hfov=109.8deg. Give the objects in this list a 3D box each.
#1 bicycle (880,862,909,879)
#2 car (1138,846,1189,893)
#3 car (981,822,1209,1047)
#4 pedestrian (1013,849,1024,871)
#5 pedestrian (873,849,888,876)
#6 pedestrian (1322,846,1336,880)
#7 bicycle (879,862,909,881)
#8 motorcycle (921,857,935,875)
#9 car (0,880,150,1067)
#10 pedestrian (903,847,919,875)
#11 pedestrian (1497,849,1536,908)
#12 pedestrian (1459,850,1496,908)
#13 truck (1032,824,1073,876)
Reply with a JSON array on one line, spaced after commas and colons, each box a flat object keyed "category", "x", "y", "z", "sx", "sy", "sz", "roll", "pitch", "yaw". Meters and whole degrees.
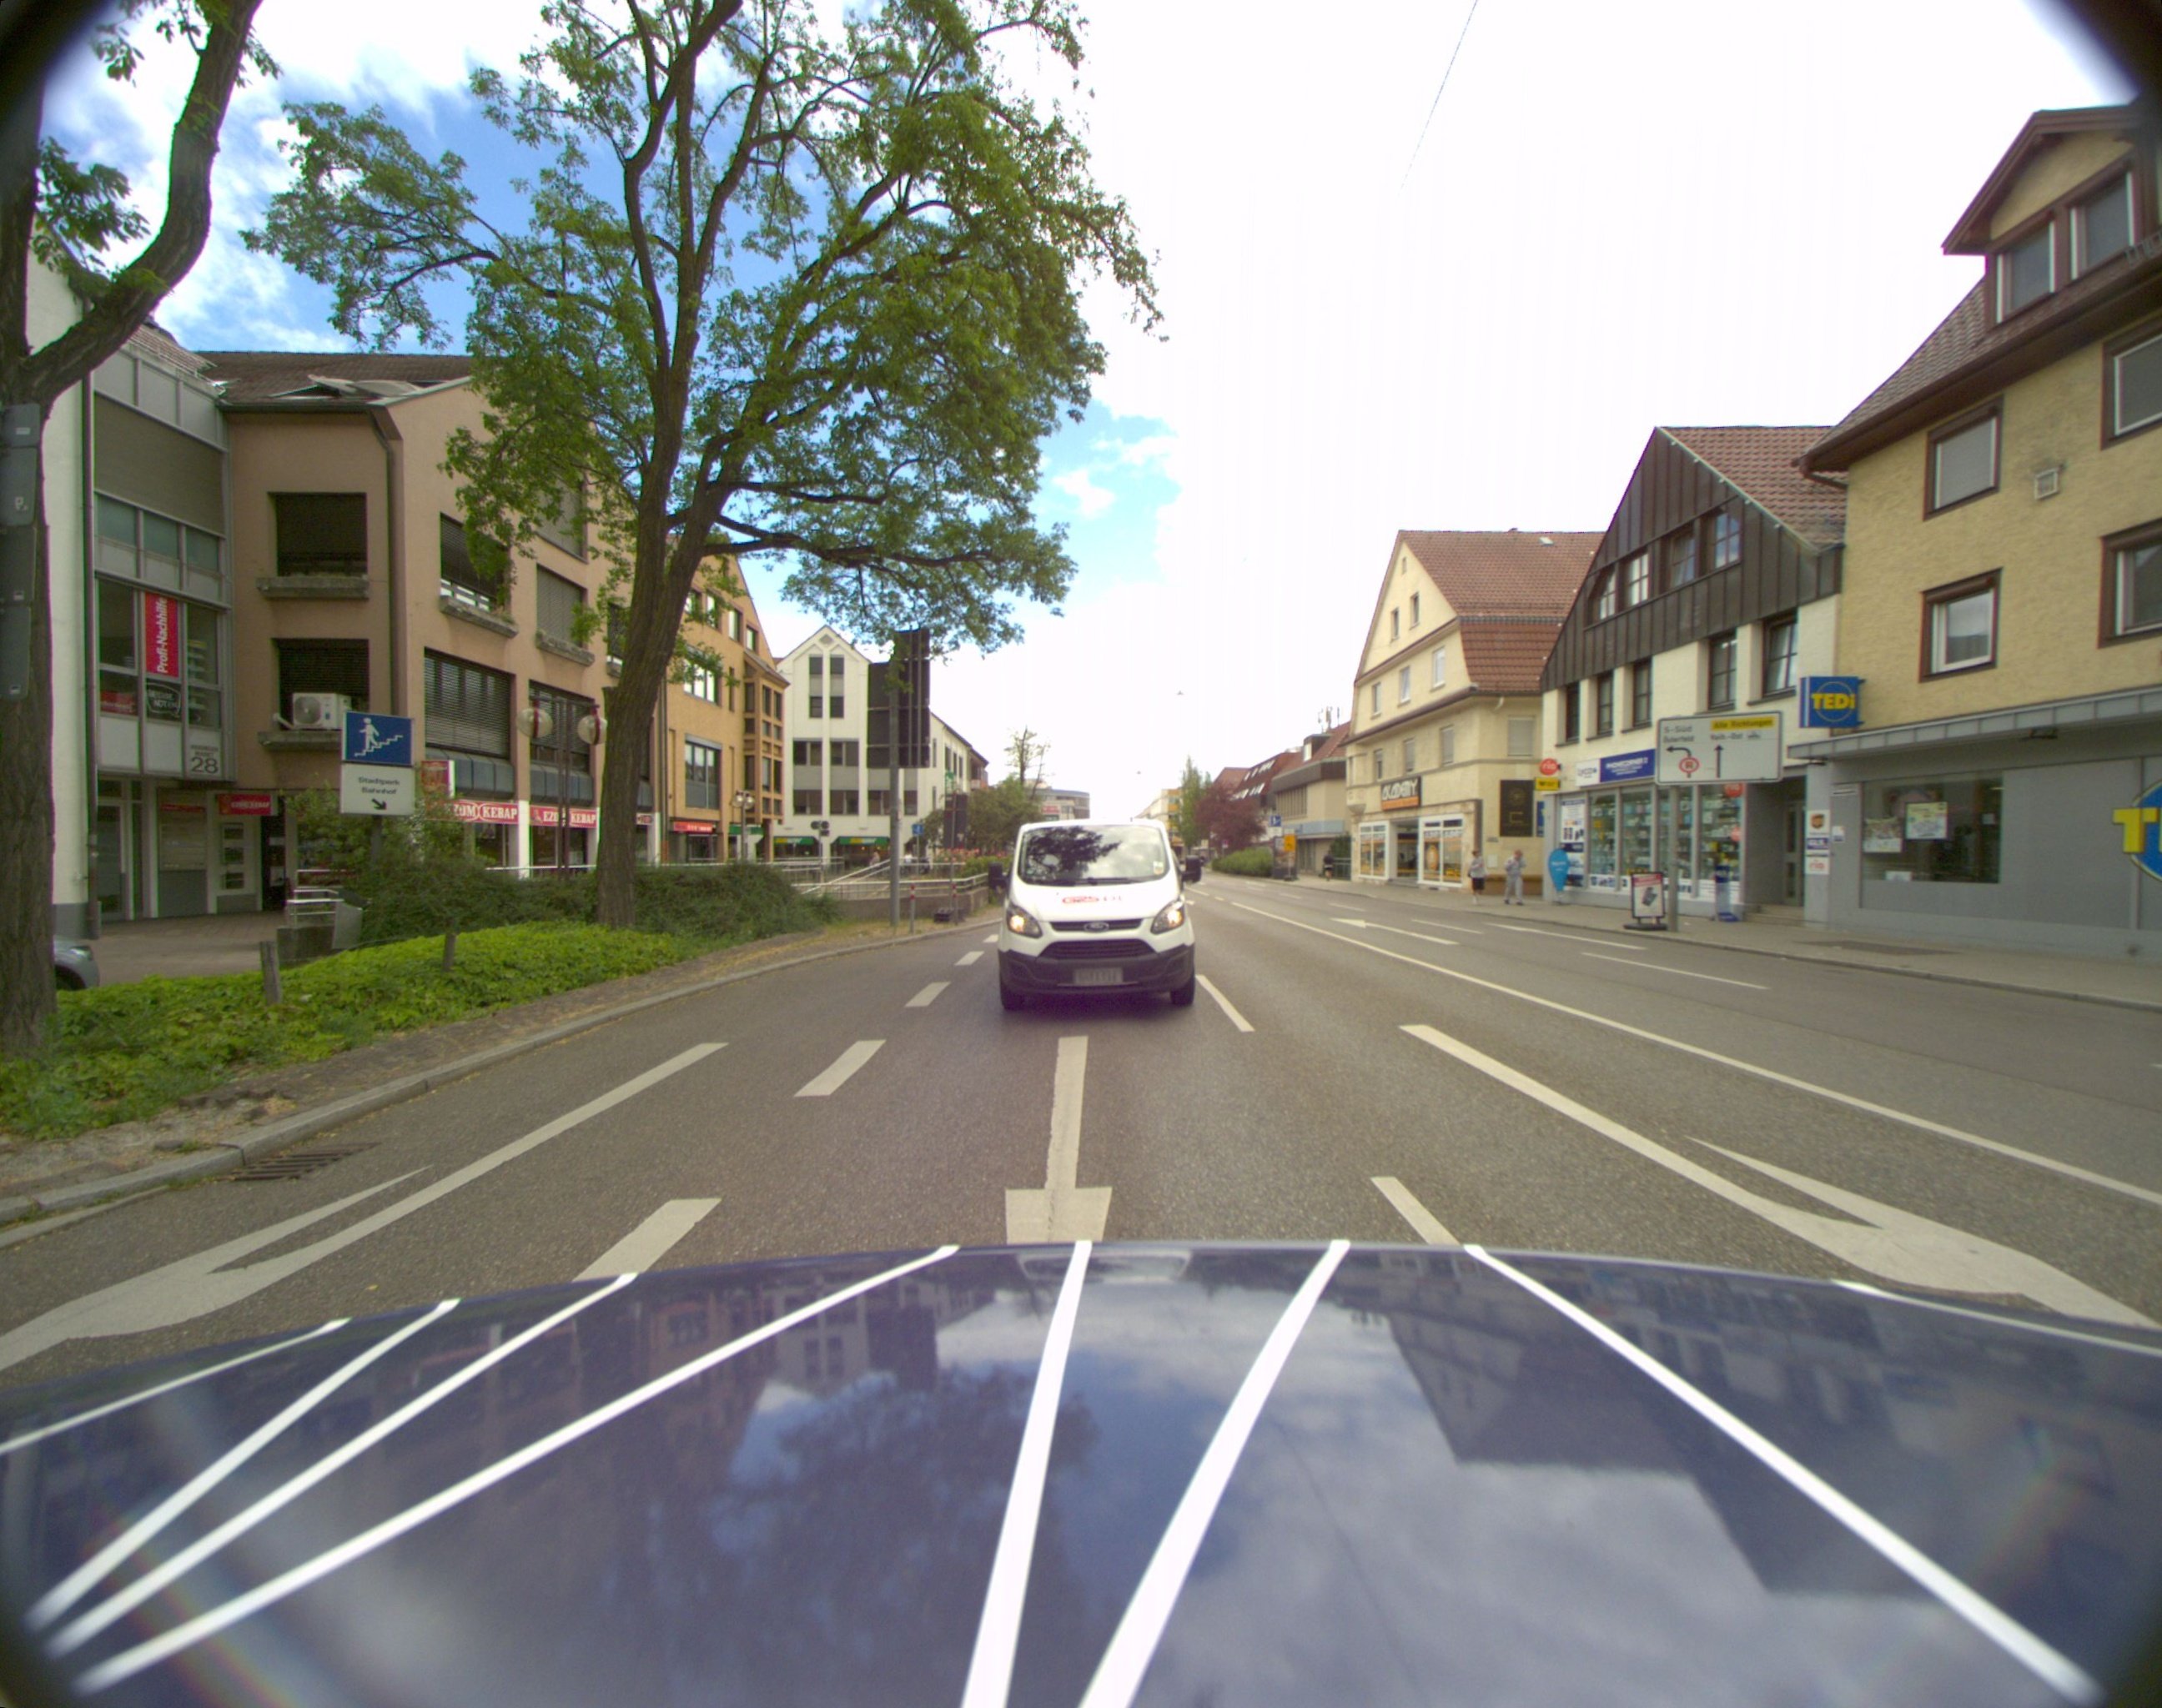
[{"category": "bicycle", "x": -10.410, "y": 0.921, "z": 42.461, "sx": 1.594, "sy": 0.963, "sz": 0.461, "roll": 0, "pitch": 1, "yaw": -14}, {"category": "car", "x": 3.488, "y": 0.604, "z": 32.844, "sx": 1.748, "sy": 1.844, "sz": 4.634, "roll": -2, "pitch": 0, "yaw": 1}, {"category": "car", "x": 0.145, "y": 0.685, "z": 9.161, "sx": 1.964, "sy": 1.948, "sz": 5.164, "roll": 0, "pitch": 0, "yaw": 0}, {"category": "pedestrian", "x": -4.402, "y": 0.403, "z": 53.469, "sx": 0.653, "sy": 1.568, "sz": 0.684, "roll": -1, "pitch": 1, "yaw": 1}, {"category": "pedestrian", "x": -13.089, "y": 0.531, "z": 49.544, "sx": 0.887, "sy": 1.747, "sz": 0.943, "roll": 0, "pitch": 1, "yaw": -11}, {"category": "pedestrian", "x": 14.138, "y": 0.505, "z": 43.371, "sx": 0.551, "sy": 1.878, "sz": 0.592, "roll": -2, "pitch": 1, "yaw": -3}, {"category": "bicycle", "x": -10.275, "y": 0.969, "z": 41.720, "sx": 1.594, "sy": 0.996, "sz": 0.414, "roll": 0, "pitch": 1, "yaw": -13}, {"category": "motorcycle", "x": -9.652, "y": 0.748, "z": 47.879, "sx": 0.464, "sy": 1.062, "sz": 1.995, "roll": 0, "pitch": 0, "yaw": 1}, {"category": "car", "x": -10.331, "y": 1.062, "z": 5.254, "sx": 1.999, "sy": 1.586, "sz": 4.762, "roll": 0, "pitch": 0, "yaw": -2}, {"category": "pedestrian", "x": -11.325, "y": 0.448, "z": 50.707, "sx": 0.871, "sy": 1.812, "sz": 0.785, "roll": -2, "pitch": 1, "yaw": -3}, {"category": "pedestrian", "x": 12.734, "y": 0.710, "z": 22.231, "sx": 0.689, "sy": 1.660, "sz": 0.709, "roll": -3, "pitch": 1, "yaw": 1}, {"category": "pedestrian", "x": 11.800, "y": 0.736, "z": 22.646, "sx": 0.689, "sy": 1.680, "sz": 0.742, "roll": -1, "pitch": 1, "yaw": 1}, {"category": "truck", "x": -2.015, "y": -0.324, "z": 56.723, "sx": 2.446, "sy": 3.464, "sz": 8.347, "roll": -2, "pitch": 1, "yaw": 1}]
